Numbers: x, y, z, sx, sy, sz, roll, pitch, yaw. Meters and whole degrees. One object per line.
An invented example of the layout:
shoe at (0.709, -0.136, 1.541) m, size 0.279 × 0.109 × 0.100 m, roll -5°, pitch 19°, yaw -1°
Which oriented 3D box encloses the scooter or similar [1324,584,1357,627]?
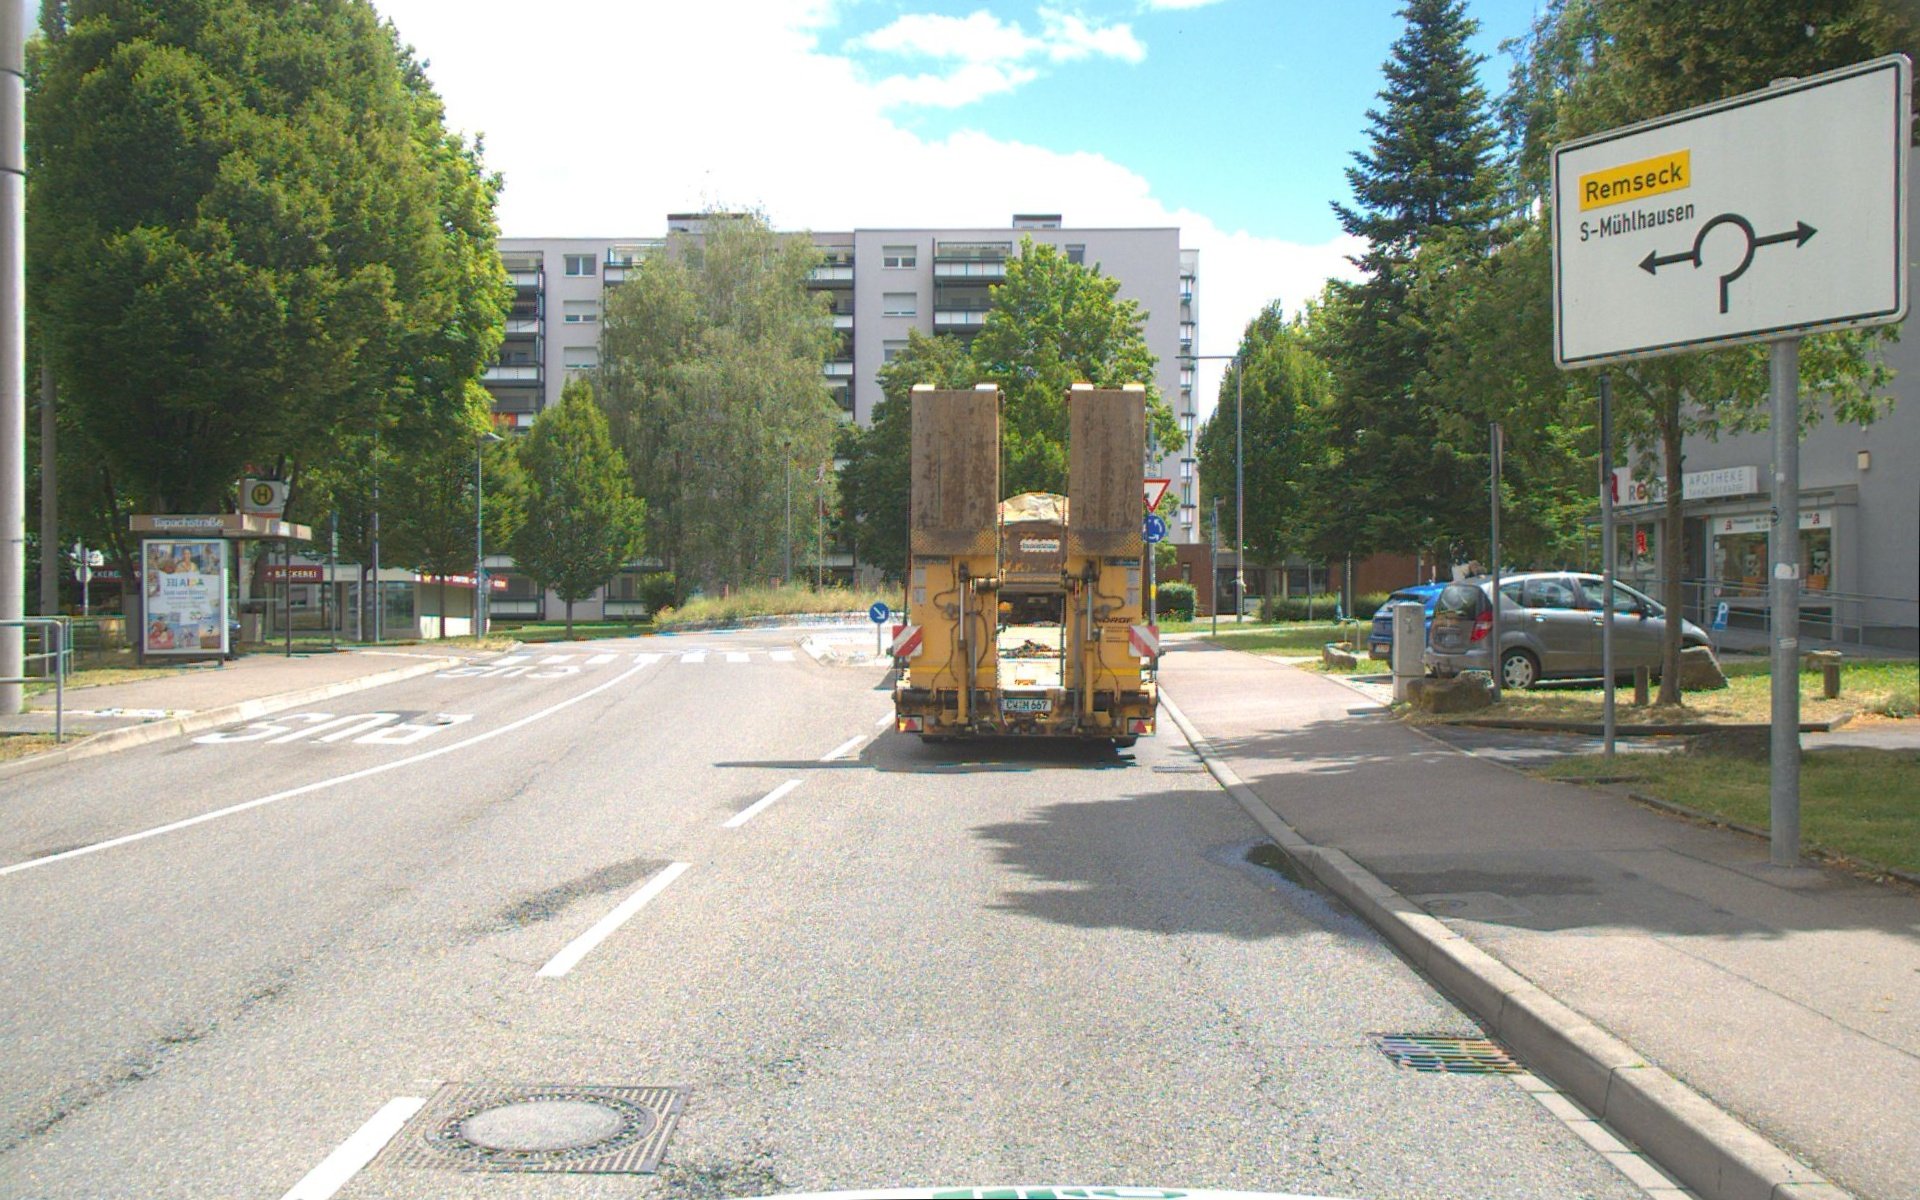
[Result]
scooter or similar at (12.501, 0.186, 54.257) m, size 0.477 × 1.366 × 1.382 m, roll -2°, pitch 0°, yaw 38°

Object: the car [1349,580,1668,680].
car at (8.694, 0.454, 26.385) m, size 4.404 × 1.265 × 1.994 m, roll -3°, pitch 1°, yaw -12°

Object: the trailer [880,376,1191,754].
trailer at (0.792, -0.393, 20.643) m, size 2.804 × 3.431 × 10.843 m, roll 1°, pitch 1°, yaw 1°

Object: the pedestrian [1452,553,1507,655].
pedestrian at (10.698, 0.077, 34.064) m, size 0.642 × 2.049 × 1.044 m, roll -1°, pitch 0°, yaw -11°

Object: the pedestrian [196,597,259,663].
pedestrian at (-13.192, 0.530, 29.806) m, size 0.783 × 1.155 × 0.910 m, roll 1°, pitch 0°, yaw -6°

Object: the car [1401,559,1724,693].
car at (8.317, 0.328, 23.022) m, size 3.661 × 1.584 × 2.027 m, roll -3°, pitch 0°, yaw -10°

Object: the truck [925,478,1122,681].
truck at (0.911, -0.425, 30.303) m, size 2.928 × 3.087 × 8.484 m, roll 2°, pitch 1°, yaw -2°
